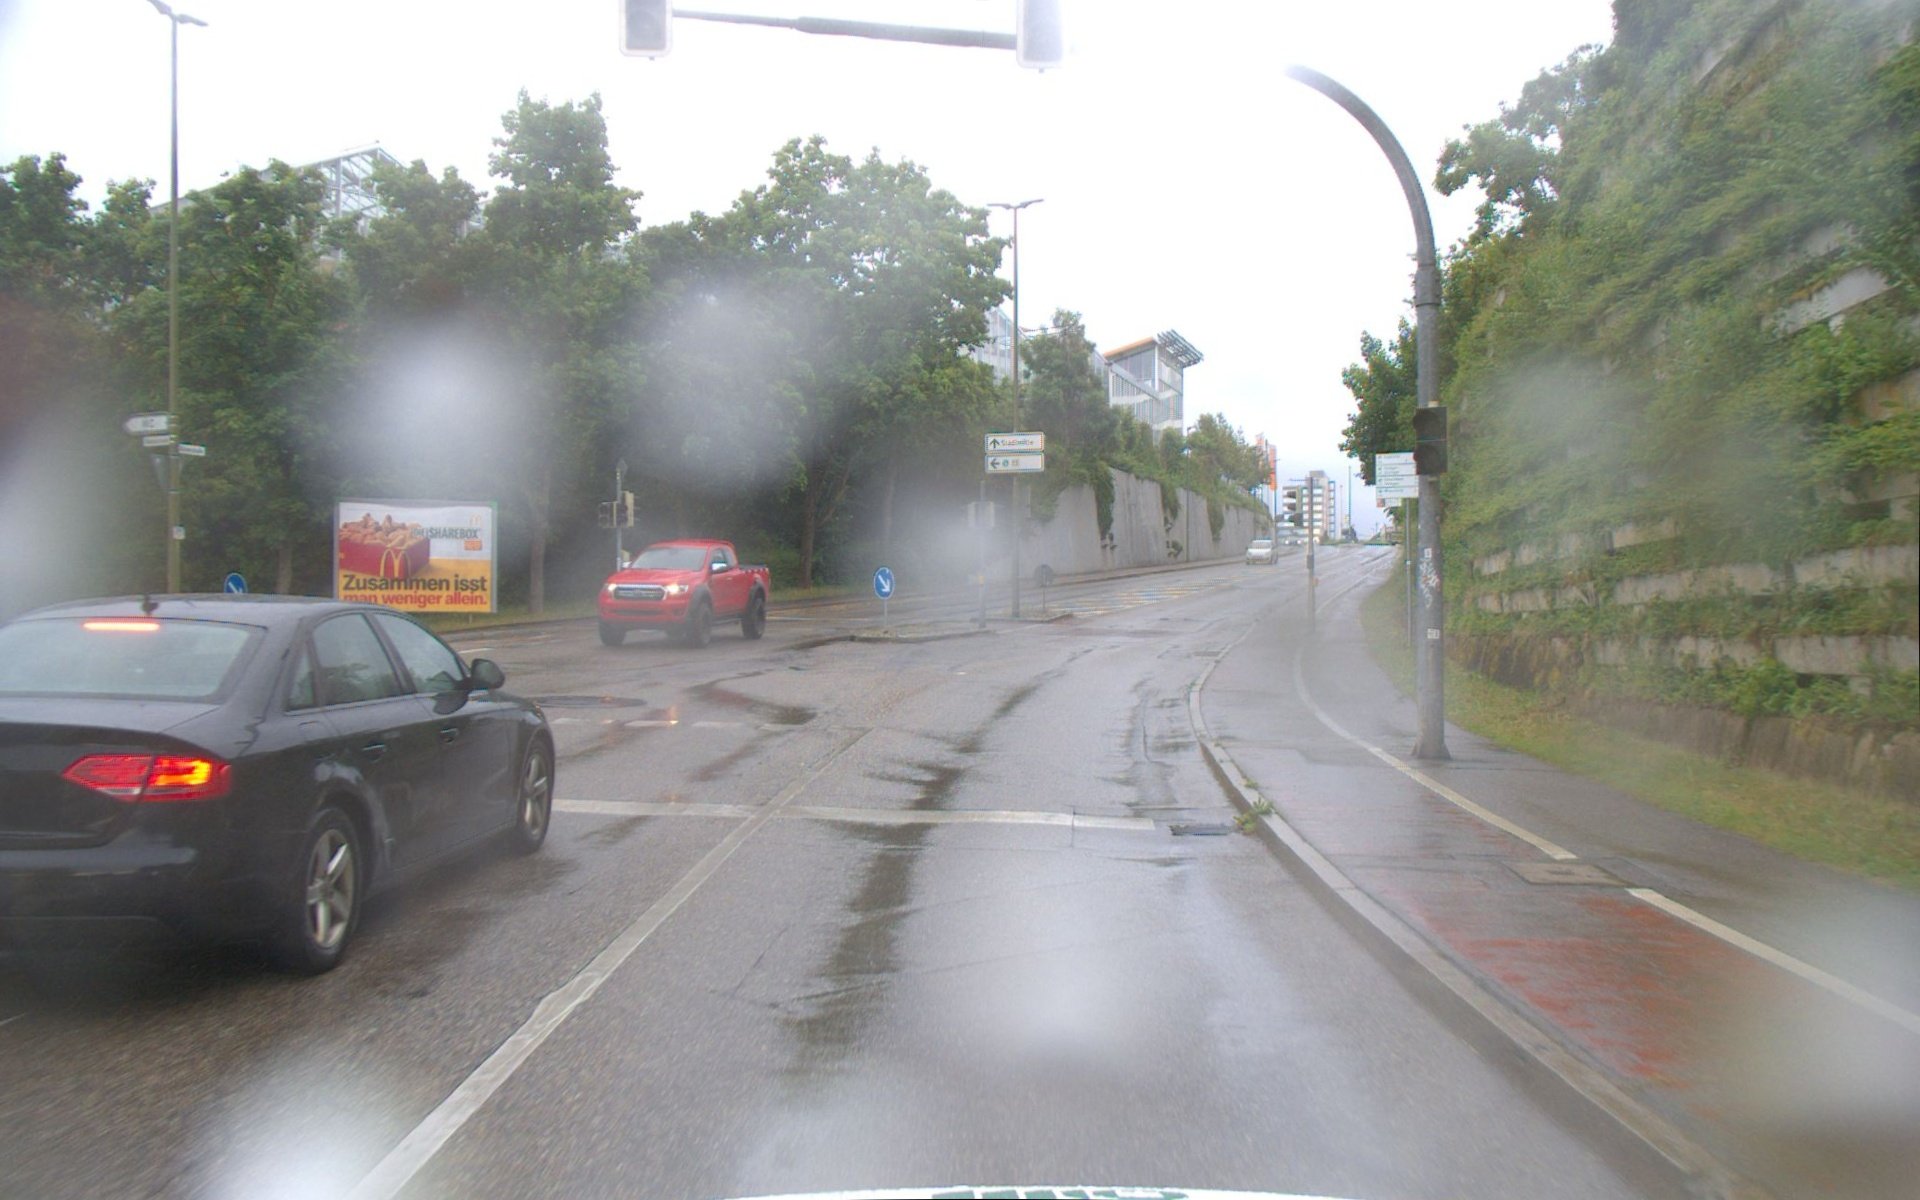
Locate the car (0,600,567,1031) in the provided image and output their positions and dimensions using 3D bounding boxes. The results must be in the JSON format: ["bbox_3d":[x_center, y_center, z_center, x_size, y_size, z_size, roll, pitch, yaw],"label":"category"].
[{"bbox_3d":[-3.158,0.725,7.558,1.718,1.420,4.000,1,0,0],"label":"car"}]

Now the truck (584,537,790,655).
[{"bbox_3d":[-5.084,-0.173,31.672,1.951,2.048,5.343,1,2,14],"label":"truck"}]

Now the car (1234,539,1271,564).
[{"bbox_3d":[18.342,-3.053,103.749,1.482,1.473,3.815,1,1,-3],"label":"car"}]
